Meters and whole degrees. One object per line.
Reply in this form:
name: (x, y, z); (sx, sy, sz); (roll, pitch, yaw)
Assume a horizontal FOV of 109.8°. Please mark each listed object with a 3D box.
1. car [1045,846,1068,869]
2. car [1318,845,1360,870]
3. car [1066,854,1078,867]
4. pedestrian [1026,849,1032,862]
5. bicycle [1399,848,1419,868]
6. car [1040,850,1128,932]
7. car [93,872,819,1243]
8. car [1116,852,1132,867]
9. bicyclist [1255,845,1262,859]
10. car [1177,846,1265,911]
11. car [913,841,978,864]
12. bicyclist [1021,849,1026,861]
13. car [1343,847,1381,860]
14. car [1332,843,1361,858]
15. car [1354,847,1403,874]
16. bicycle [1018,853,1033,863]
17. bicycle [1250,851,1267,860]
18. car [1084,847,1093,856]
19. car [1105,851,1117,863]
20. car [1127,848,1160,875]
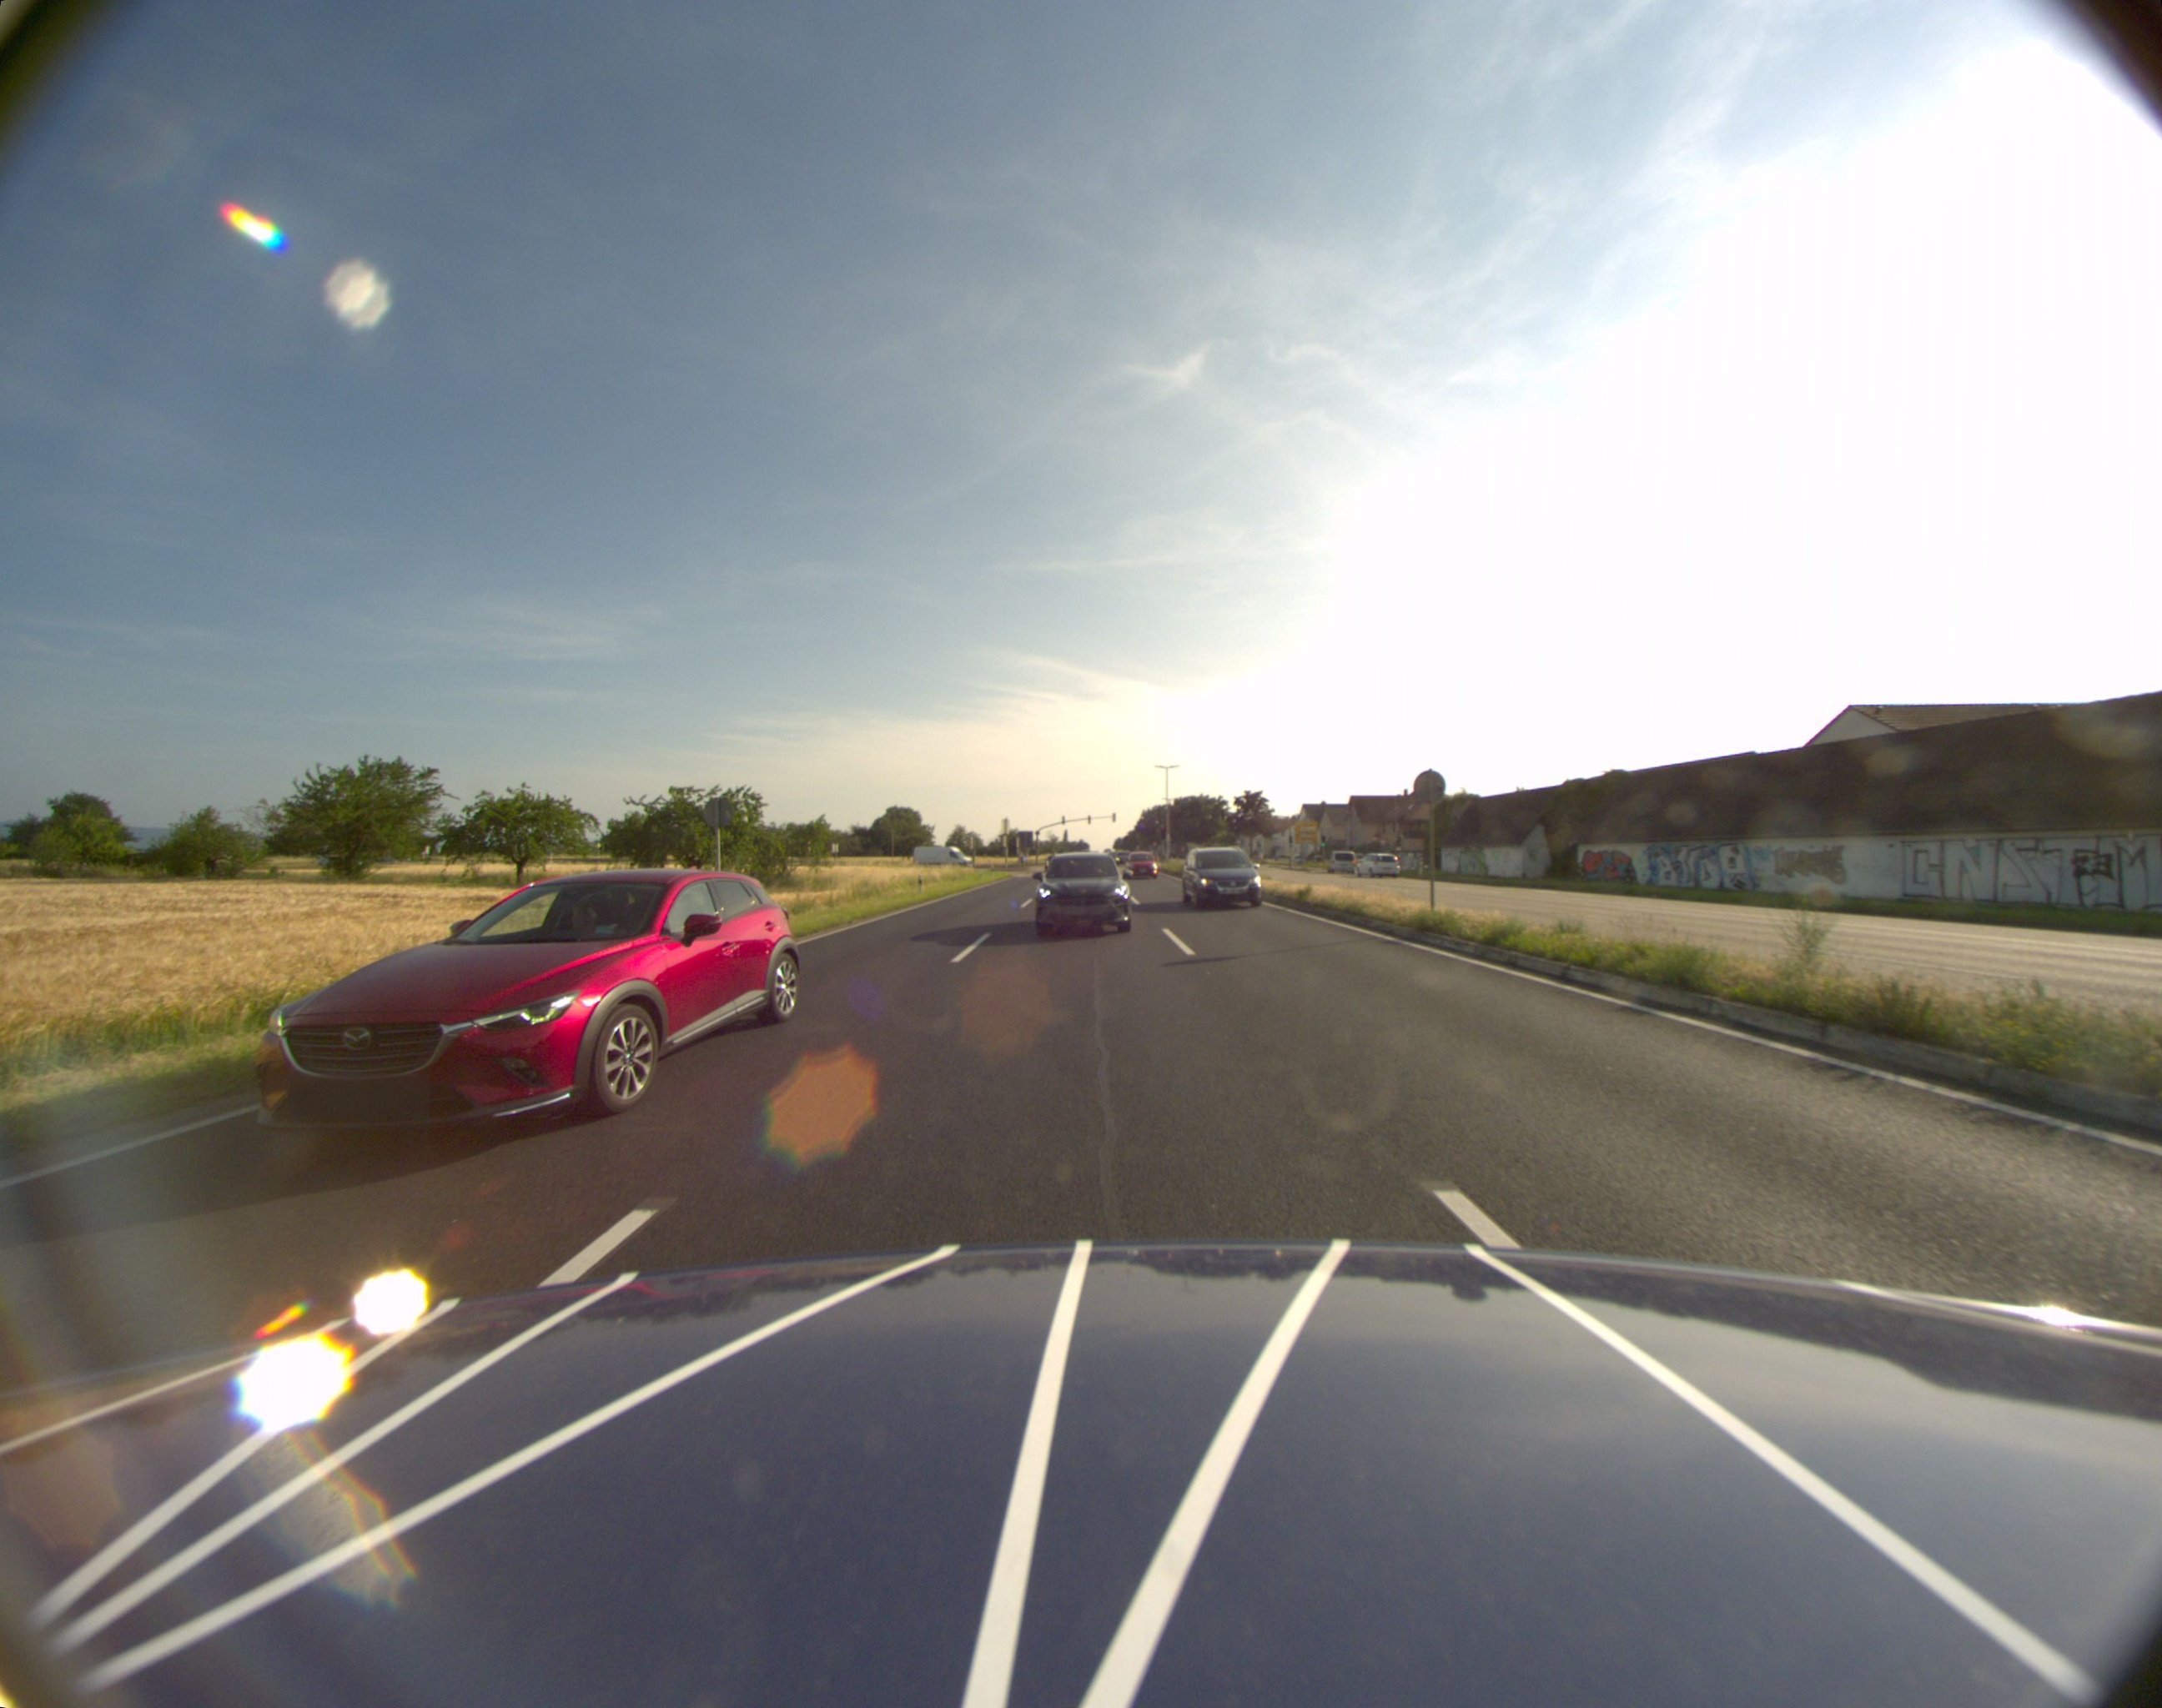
car: (-2.310, 0.297, 71.285); (1.999, 2.002, 3.998); (-2, 1, -2)
car: (21.869, 0.271, 64.751); (1.911, 1.917, 5.454); (2, 1, 3)
car: (-1.579, 1.157, 132.352); (1.998, 2.002, 3.999); (-2, 1, 0)
pedestrian: (-7.084, 0.159, 103.581); (0.623, 1.741, 0.598); (-2, 2, 11)
bicycle: (30.012, 0.314, 69.518); (0.755, 1.739, 2.607); (-2, 1, 1)
car: (0.124, 0.761, 17.975); (1.791, 1.594, 4.339); (-2, 1, 2)
car: (-3.676, 1.010, 5.787); (1.708, 1.497, 4.500); (-2, 1, 1)
car: (4.821, 0.628, 85.523); (1.719, 1.521, 3.999); (-2, 1, 1)
bicyclist: (23.758, -0.270, 101.645); (0.856, 1.777, 0.847); (2, 2, 9)
car: (3.930, 0.618, 22.042); (1.777, 1.612, 4.681); (-1, 1, 2)
car: (-15.808, -0.157, 88.731); (7.202, 2.654, 2.094); (0, 2, 15)
bicyclist: (-7.702, 0.137, 101.949); (0.560, 1.603, 0.504); (-2, 2, 7)
car: (34.791, -0.059, 94.079); (3.996, 1.554, 1.758); (2, 1, 2)
car: (26.907, -0.344, 76.942); (1.703, 1.489, 4.547); (1, 0, 32)
car: (20.923, 0.427, 53.589); (1.840, 1.697, 4.758); (2, 1, 4)
bicycle: (-7.408, 0.513, 101.863); (1.857, 1.282, 0.529); (-2, 2, 4)
bicycle: (23.777, 0.217, 101.676); (2.159, 1.185, 0.904); (0, 2, 10)
car: (1.857, -0.649, 193.507); (1.999, 2.002, 3.998); (-2, 1, -2)
car: (5.501, 0.501, 140.280); (1.999, 2.002, 3.998); (-2, 1, -2)
car: (3.827, 0.419, 46.874); (1.748, 1.537, 3.999); (-2, 1, 1)
